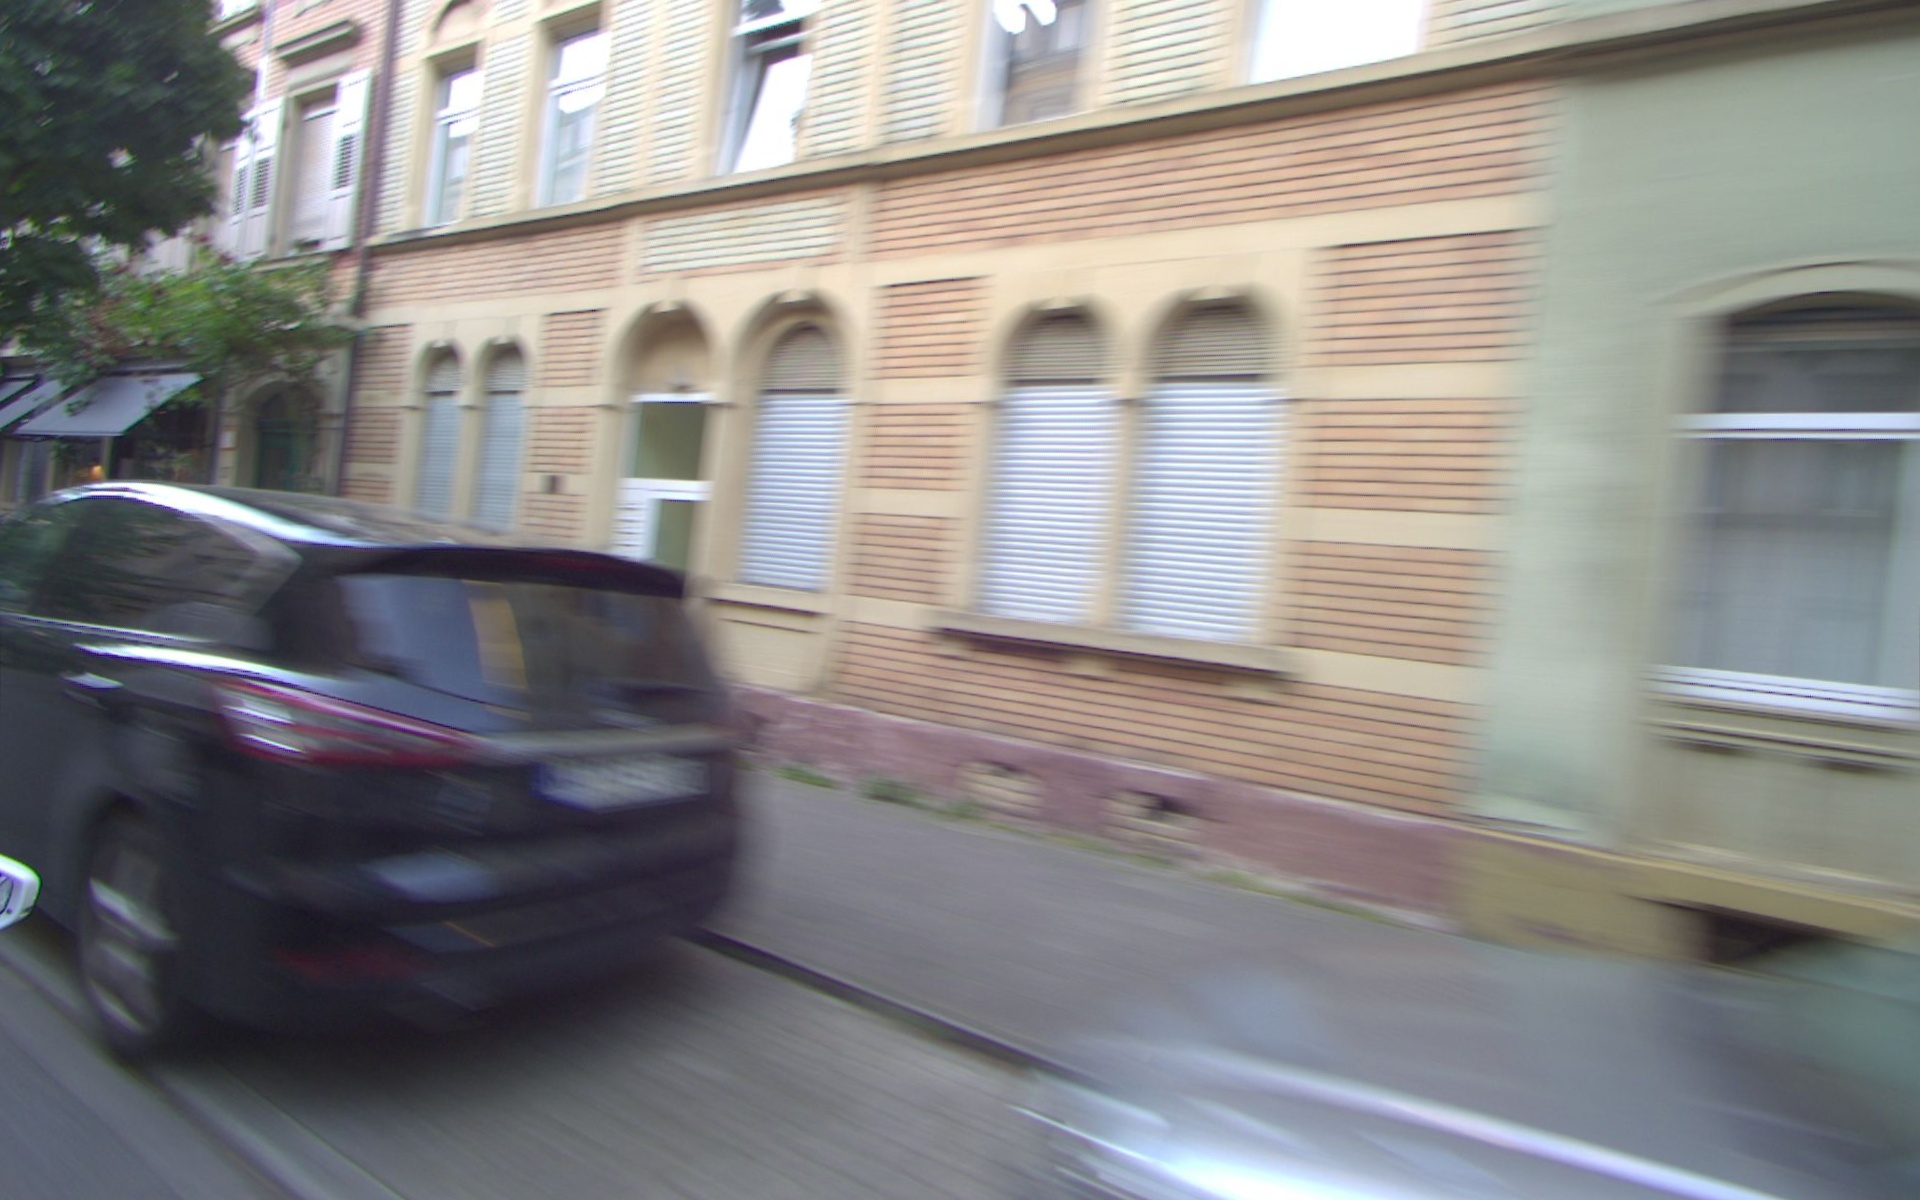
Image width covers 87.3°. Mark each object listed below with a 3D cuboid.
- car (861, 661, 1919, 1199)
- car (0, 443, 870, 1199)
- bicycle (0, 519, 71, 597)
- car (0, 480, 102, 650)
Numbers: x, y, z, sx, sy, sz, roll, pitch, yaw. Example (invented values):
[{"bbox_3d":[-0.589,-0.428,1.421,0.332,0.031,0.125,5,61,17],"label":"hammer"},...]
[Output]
[{"bbox_3d":[2.410,1.098,1.144,4.785,1.421,2.049,6,0,31],"label":"car"},{"bbox_3d":[-2.794,0.382,4.199,4.379,1.650,1.942,6,-1,31],"label":"car"},{"bbox_3d":[-14.336,-0.660,15.313,1.918,1.049,0.686,6,2,33],"label":"bicycle"},{"bbox_3d":[-9.964,-0.427,9.290,1.500,1.593,2.716,7,1,31],"label":"car"}]
